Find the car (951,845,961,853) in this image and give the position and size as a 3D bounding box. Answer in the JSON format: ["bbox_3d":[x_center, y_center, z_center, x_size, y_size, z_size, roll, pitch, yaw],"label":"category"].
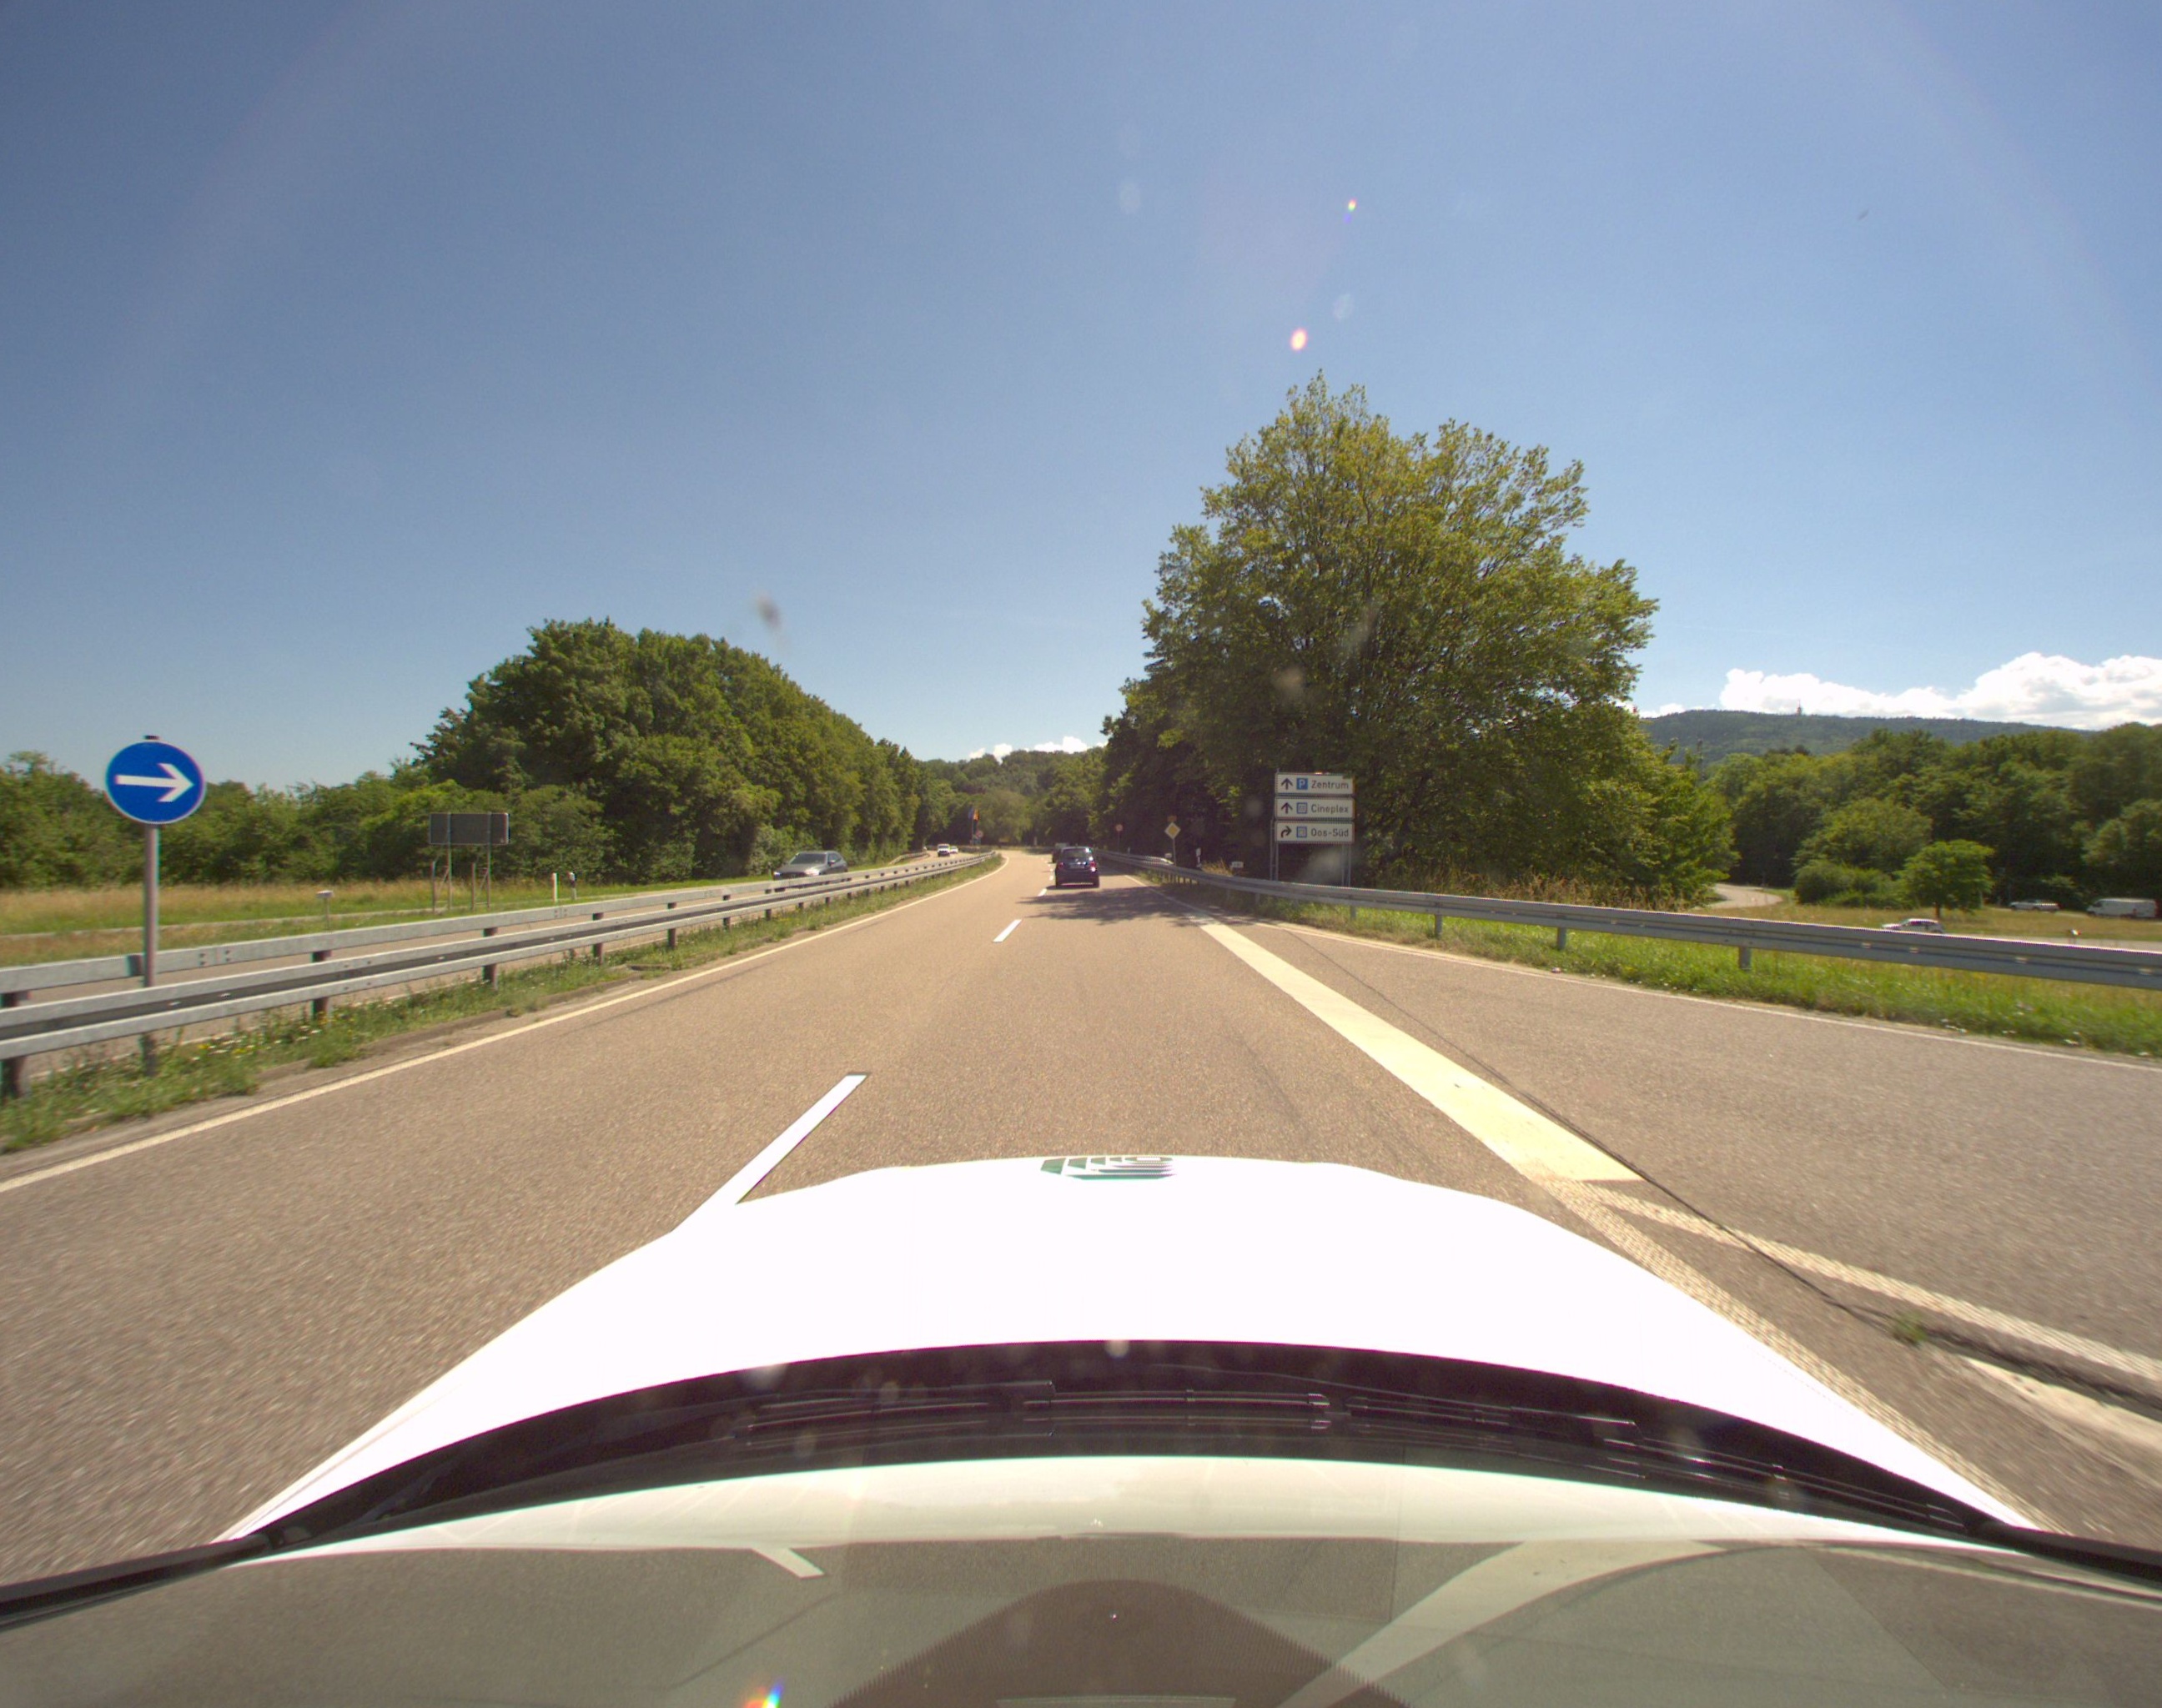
[{"bbox_3d":[-26.248,-1.061,171.392,1.648,1.447,4.212,-2,1,-5],"label":"car"}]

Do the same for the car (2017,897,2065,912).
[{"bbox_3d":[110.583,5.754,93.824,1.697,1.400,3.364,-2,1,3],"label":"car"}]

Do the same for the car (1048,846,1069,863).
[{"bbox_3d":[-1.952,0.037,70.169,1.523,1.313,3.408,-2,1,-6],"label":"car"}]

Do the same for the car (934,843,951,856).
[{"bbox_3d":[-21.916,-0.718,128.686,1.985,1.951,5.633,-2,1,-4],"label":"car"}]

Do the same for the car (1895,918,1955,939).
[{"bbox_3d":[72.326,6.393,69.860,3.412,1.501,1.474,-2,1,40],"label":"car"}]

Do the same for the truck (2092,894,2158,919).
[{"bbox_3d":[109.248,5.467,85.306,1.635,2.259,4.199,-2,1,4],"label":"truck"}]

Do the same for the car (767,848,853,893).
[{"bbox_3d":[-10.826,0.606,32.945,1.817,1.617,4.541,-2,1,1],"label":"car"}]

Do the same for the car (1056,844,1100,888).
[{"bbox_3d":[-0.161,0.408,30.550,1.509,1.500,3.588,-2,1,-2],"label":"car"}]
